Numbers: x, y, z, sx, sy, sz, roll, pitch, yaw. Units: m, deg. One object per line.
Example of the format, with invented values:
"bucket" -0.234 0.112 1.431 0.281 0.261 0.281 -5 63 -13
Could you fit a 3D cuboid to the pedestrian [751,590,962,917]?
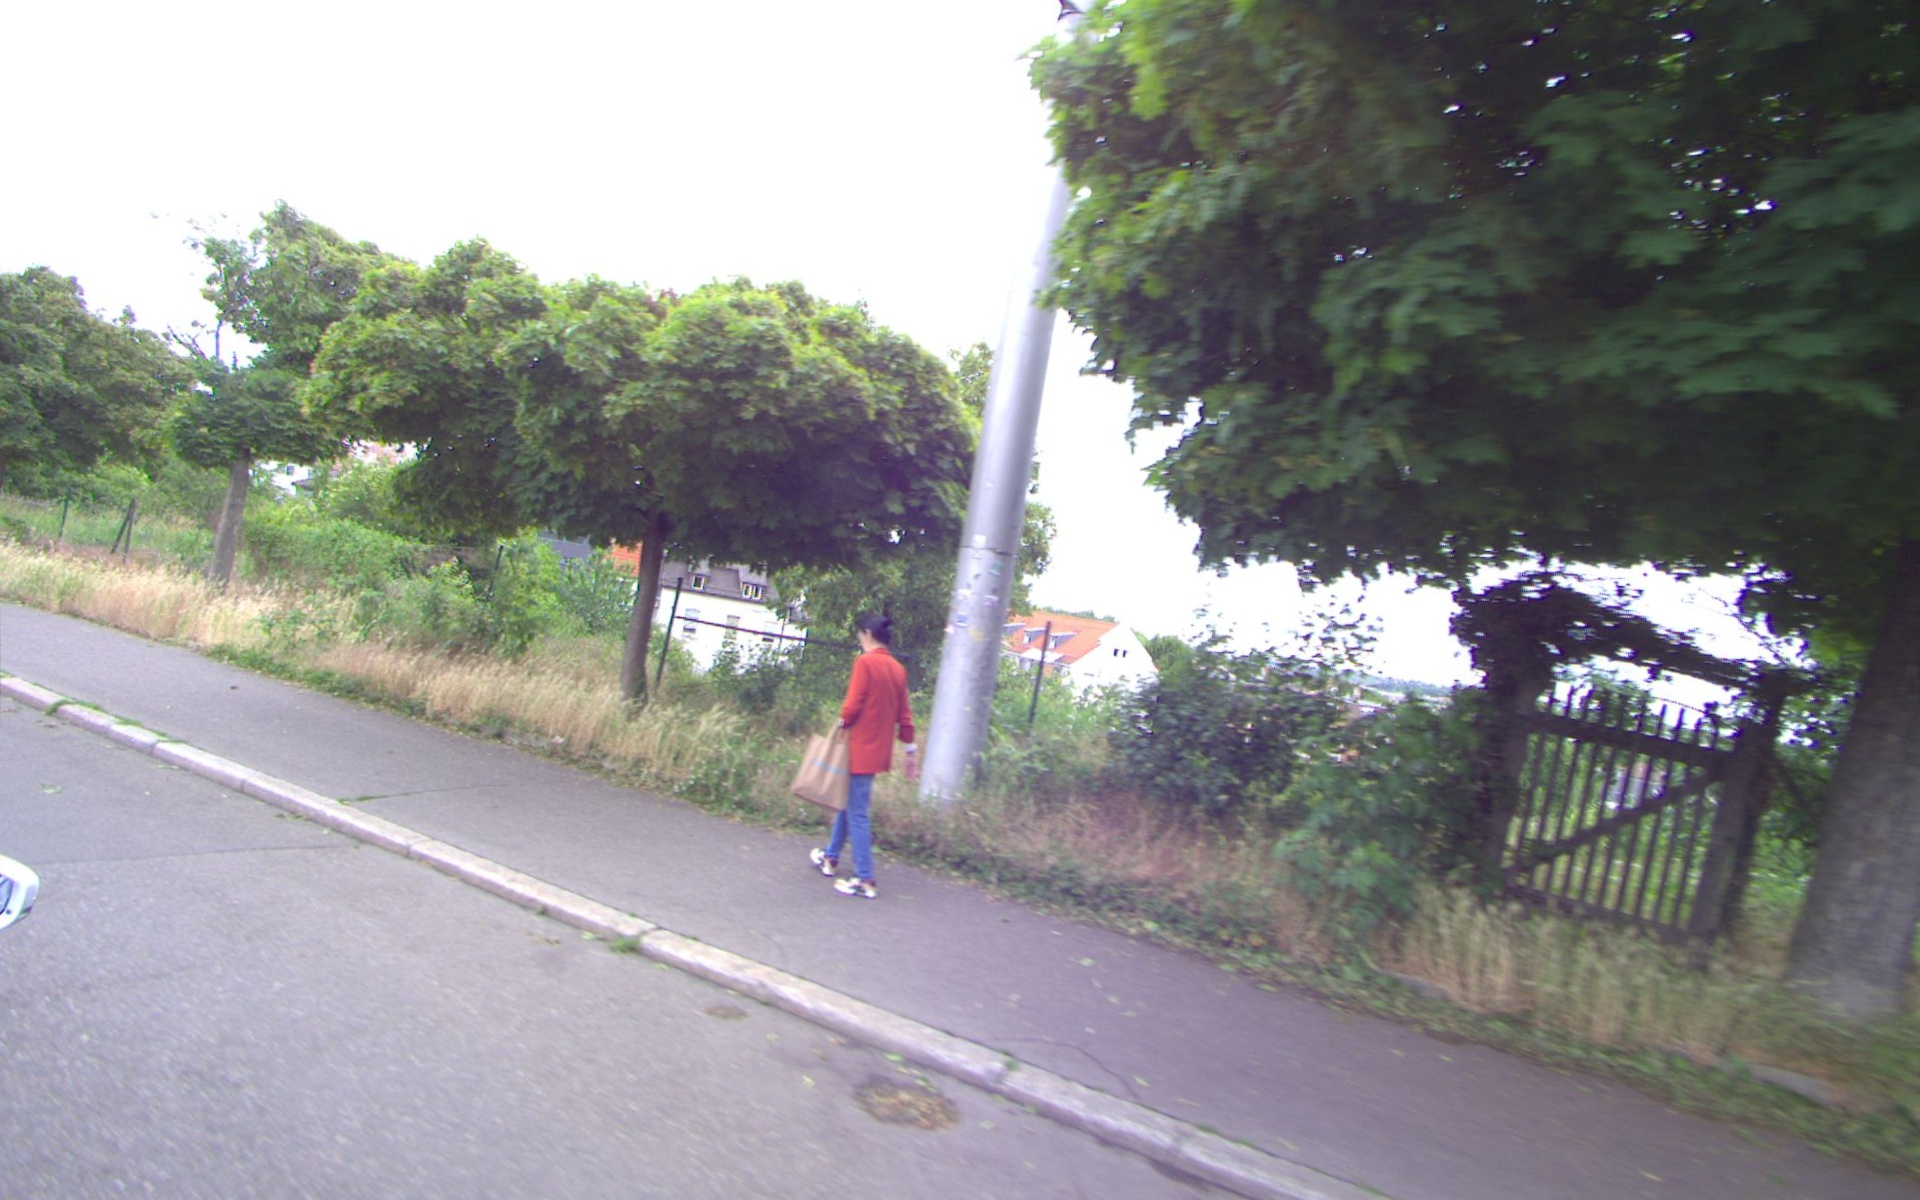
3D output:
"pedestrian" -0.570 0.827 5.698 0.706 1.639 0.716 7 -1 30
